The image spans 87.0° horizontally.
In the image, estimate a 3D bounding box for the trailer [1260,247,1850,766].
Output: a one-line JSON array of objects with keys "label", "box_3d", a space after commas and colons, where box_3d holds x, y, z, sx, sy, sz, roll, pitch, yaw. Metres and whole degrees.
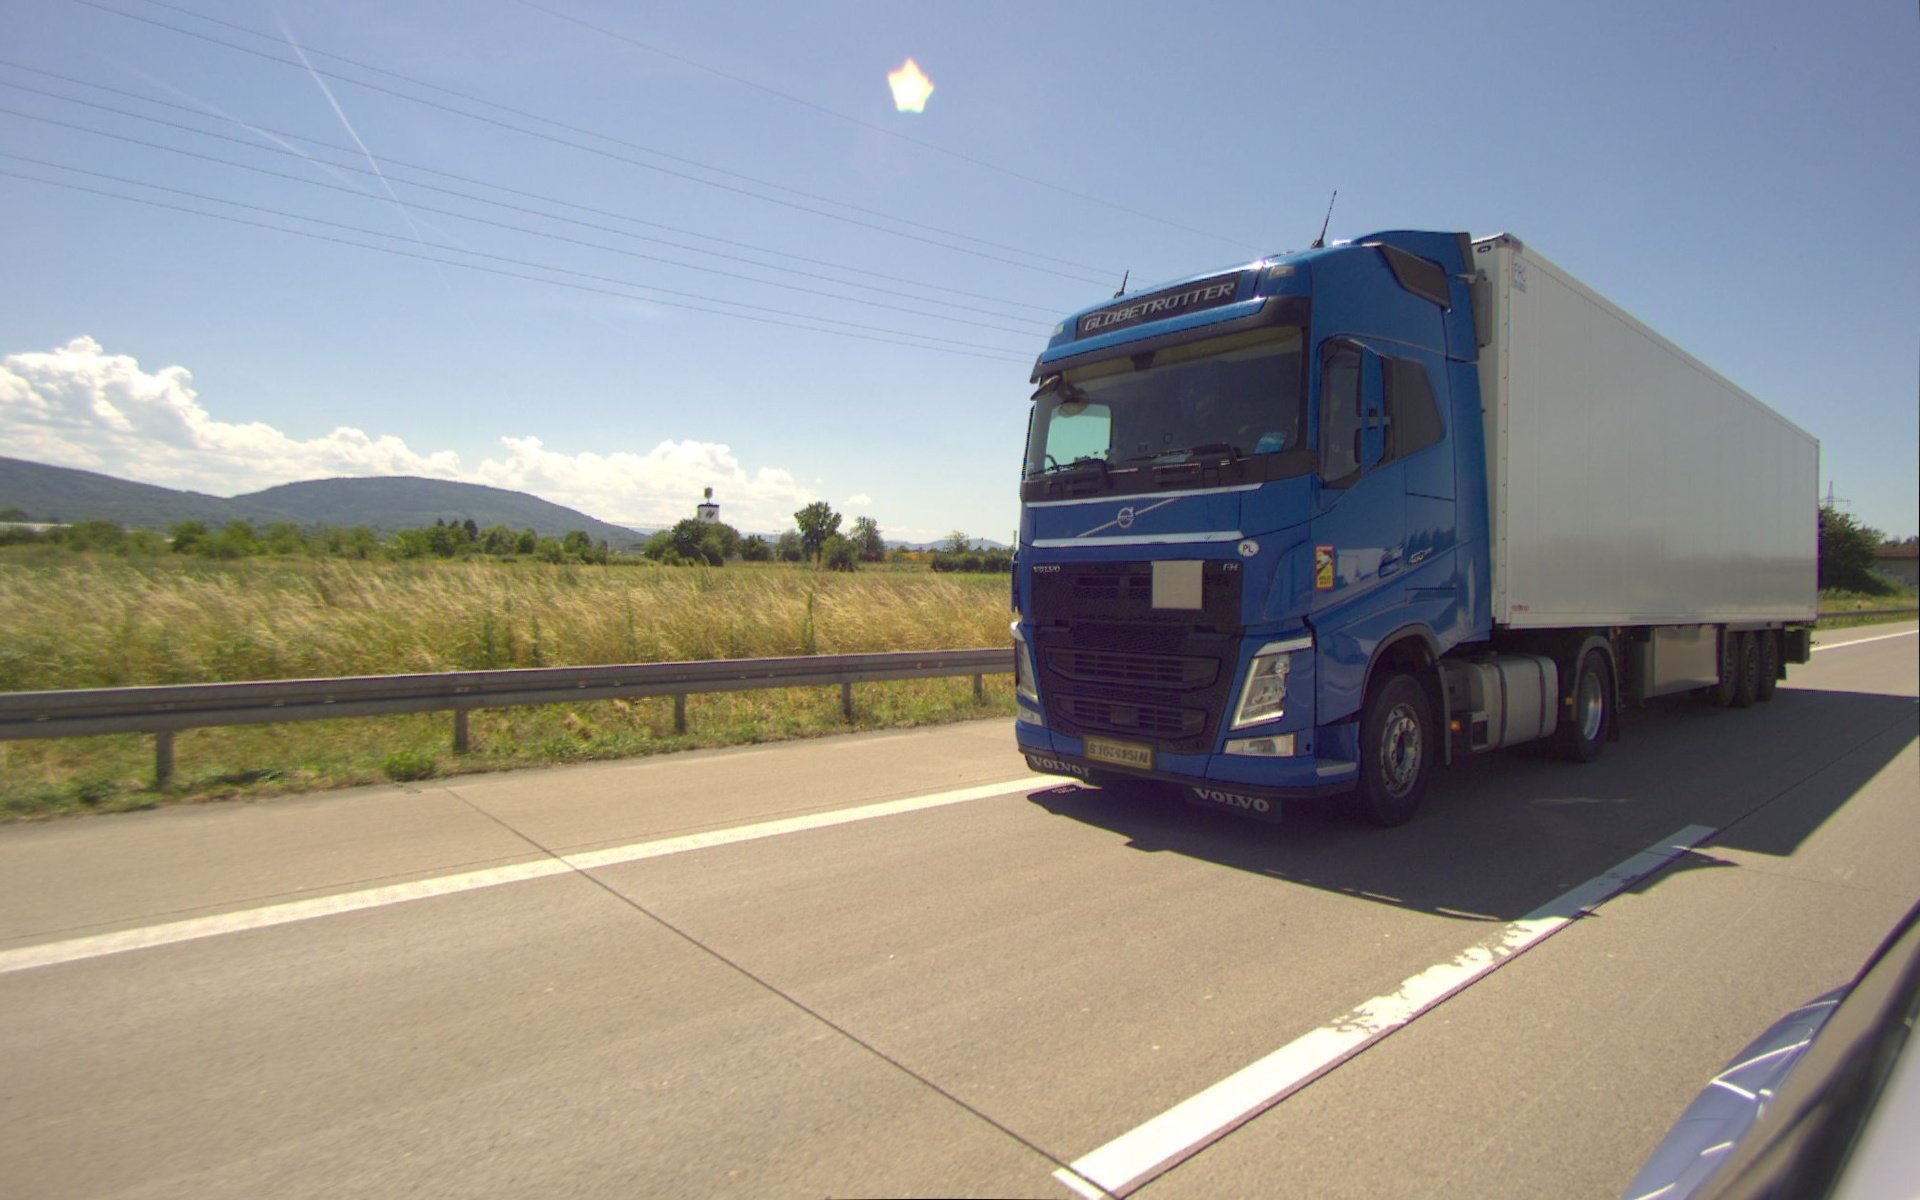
[{"label": "trailer", "box_3d": [8.647, -0.785, 13.170, 12.676, 4.095, 2.713, 0, 0, -41]}]

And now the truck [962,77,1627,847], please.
[{"label": "truck", "box_3d": [2.937, -0.758, 8.189, 5.370, 4.095, 2.755, 0, 0, -41]}]
